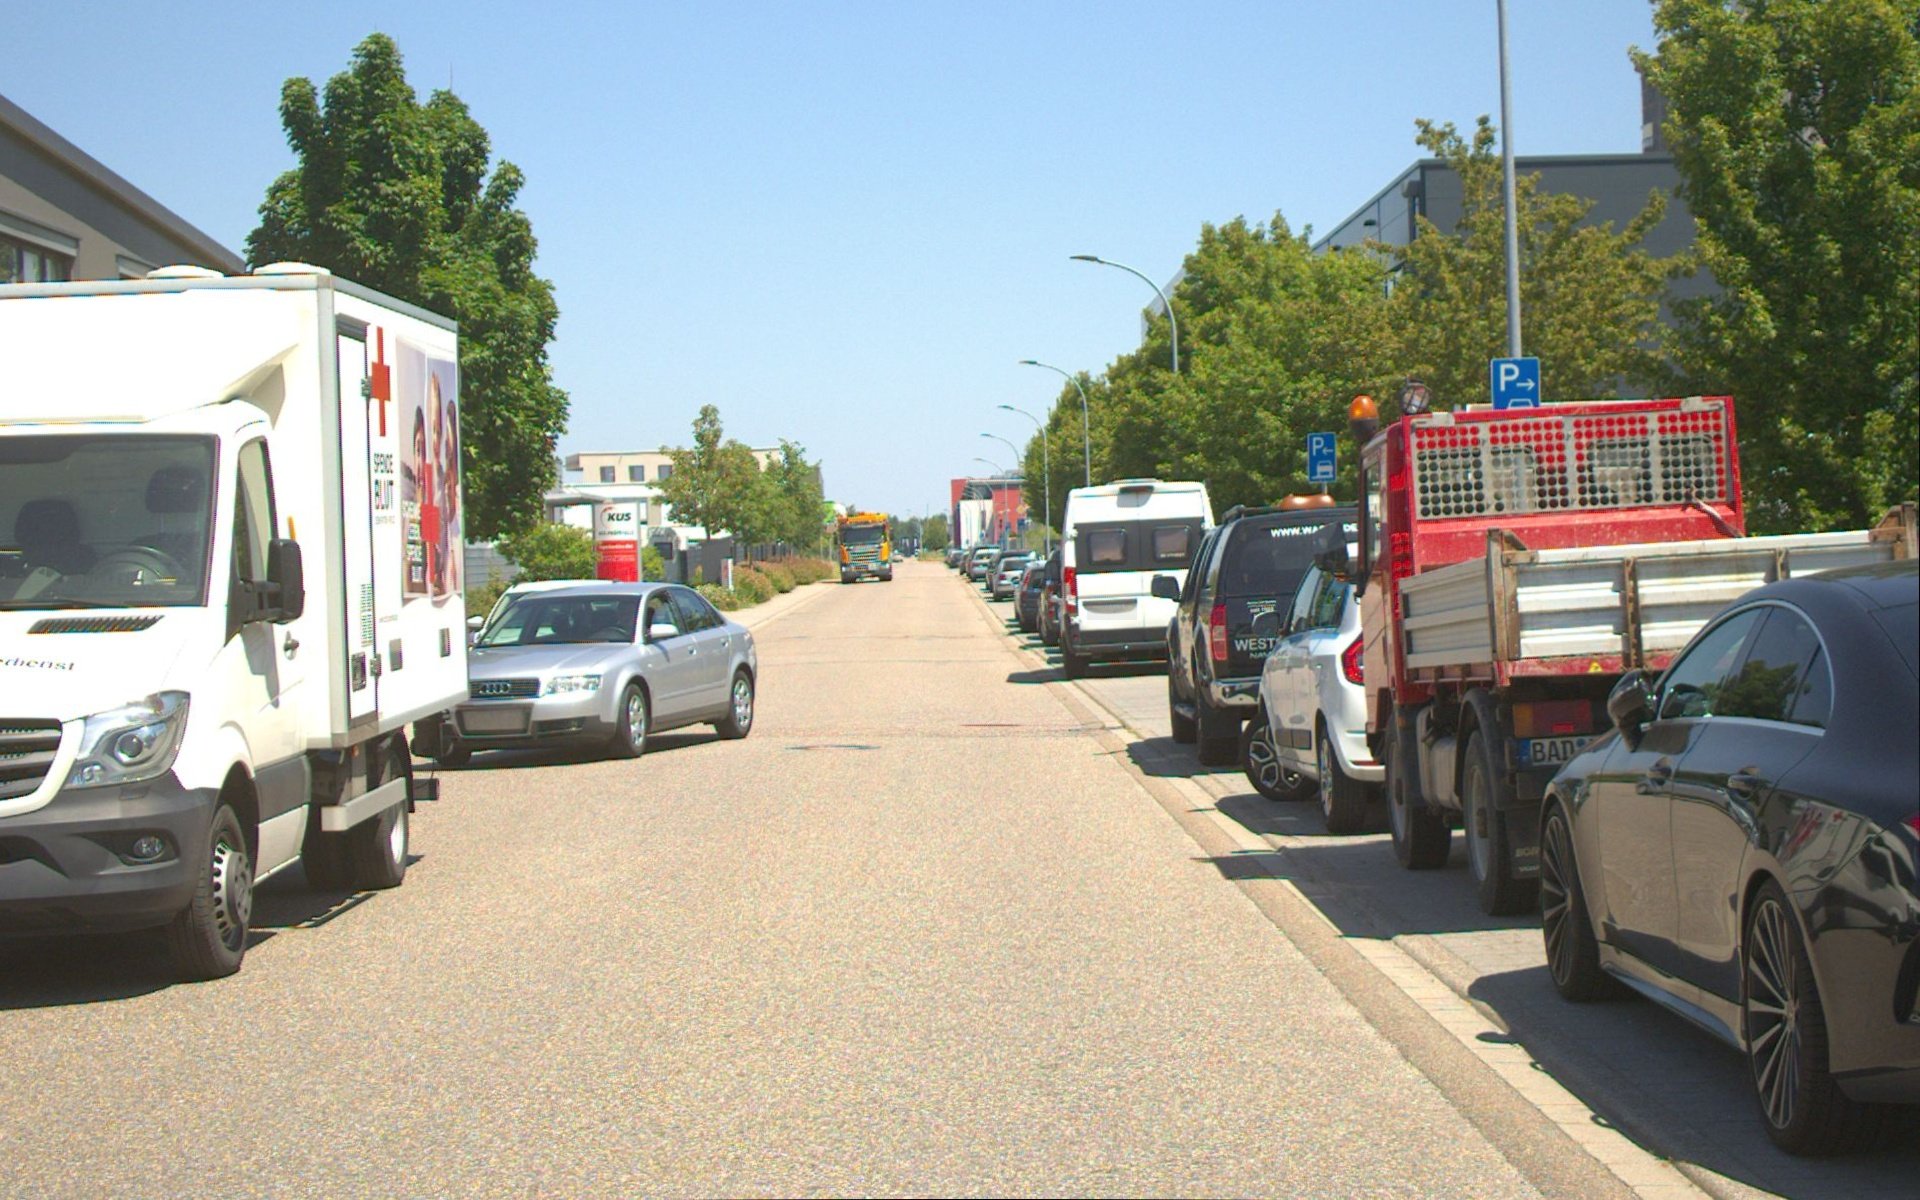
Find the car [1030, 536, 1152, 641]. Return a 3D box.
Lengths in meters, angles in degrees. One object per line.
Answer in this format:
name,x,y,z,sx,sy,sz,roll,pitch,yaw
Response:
car,2.396,-0.218,63.941,1.993,1.819,4.354,-2,0,-1

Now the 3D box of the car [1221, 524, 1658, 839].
car,2.623,0.397,19.701,1.738,1.525,4.000,-3,1,-2

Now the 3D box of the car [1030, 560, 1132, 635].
car,2.446,-0.062,70.441,1.850,1.426,4.713,-2,0,0

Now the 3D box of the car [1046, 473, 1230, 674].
car,2.346,-0.374,46.903,2.267,2.489,6.152,-2,1,2

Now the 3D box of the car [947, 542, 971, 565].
car,-0.083,-3.053,225.019,1.495,1.405,3.500,-1,1,-1

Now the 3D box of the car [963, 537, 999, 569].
car,0.988,-2.205,160.394,1.585,1.405,3.500,-1,1,-1

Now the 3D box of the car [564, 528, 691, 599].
car,-12.682,-1.394,131.407,4.714,2.577,2.000,-2,1,-4

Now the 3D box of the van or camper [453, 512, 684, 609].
van or camper,-13.045,-1.322,115.071,7.384,3.027,2.790,-1,1,-1

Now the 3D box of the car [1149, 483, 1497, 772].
car,2.603,0.160,25.907,1.993,1.878,5.156,-2,1,0

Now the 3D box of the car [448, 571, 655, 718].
car,-4.326,0.430,37.007,1.730,1.453,4.492,-1,1,-1

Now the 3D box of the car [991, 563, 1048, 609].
car,1.947,-0.474,113.199,1.718,1.445,3.646,-2,1,-1

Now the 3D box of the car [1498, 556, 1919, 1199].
car,2.727,0.598,9.305,1.698,1.378,4.837,-3,1,0

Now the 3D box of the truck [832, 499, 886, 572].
truck,-5.049,-3.249,173.375,2.448,3.501,8.273,-3,1,-1

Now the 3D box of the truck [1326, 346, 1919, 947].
truck,2.772,0.149,15.144,1.679,2.174,4.390,-3,1,-1

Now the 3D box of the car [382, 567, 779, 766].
car,-3.101,0.508,29.082,1.784,1.417,4.411,-3,1,15

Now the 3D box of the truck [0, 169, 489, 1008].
truck,-3.757,-0.025,15.058,2.361,2.850,6.415,-3,0,0

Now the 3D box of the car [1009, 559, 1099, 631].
car,2.118,-0.136,76.252,1.709,1.499,4.705,-2,0,4
